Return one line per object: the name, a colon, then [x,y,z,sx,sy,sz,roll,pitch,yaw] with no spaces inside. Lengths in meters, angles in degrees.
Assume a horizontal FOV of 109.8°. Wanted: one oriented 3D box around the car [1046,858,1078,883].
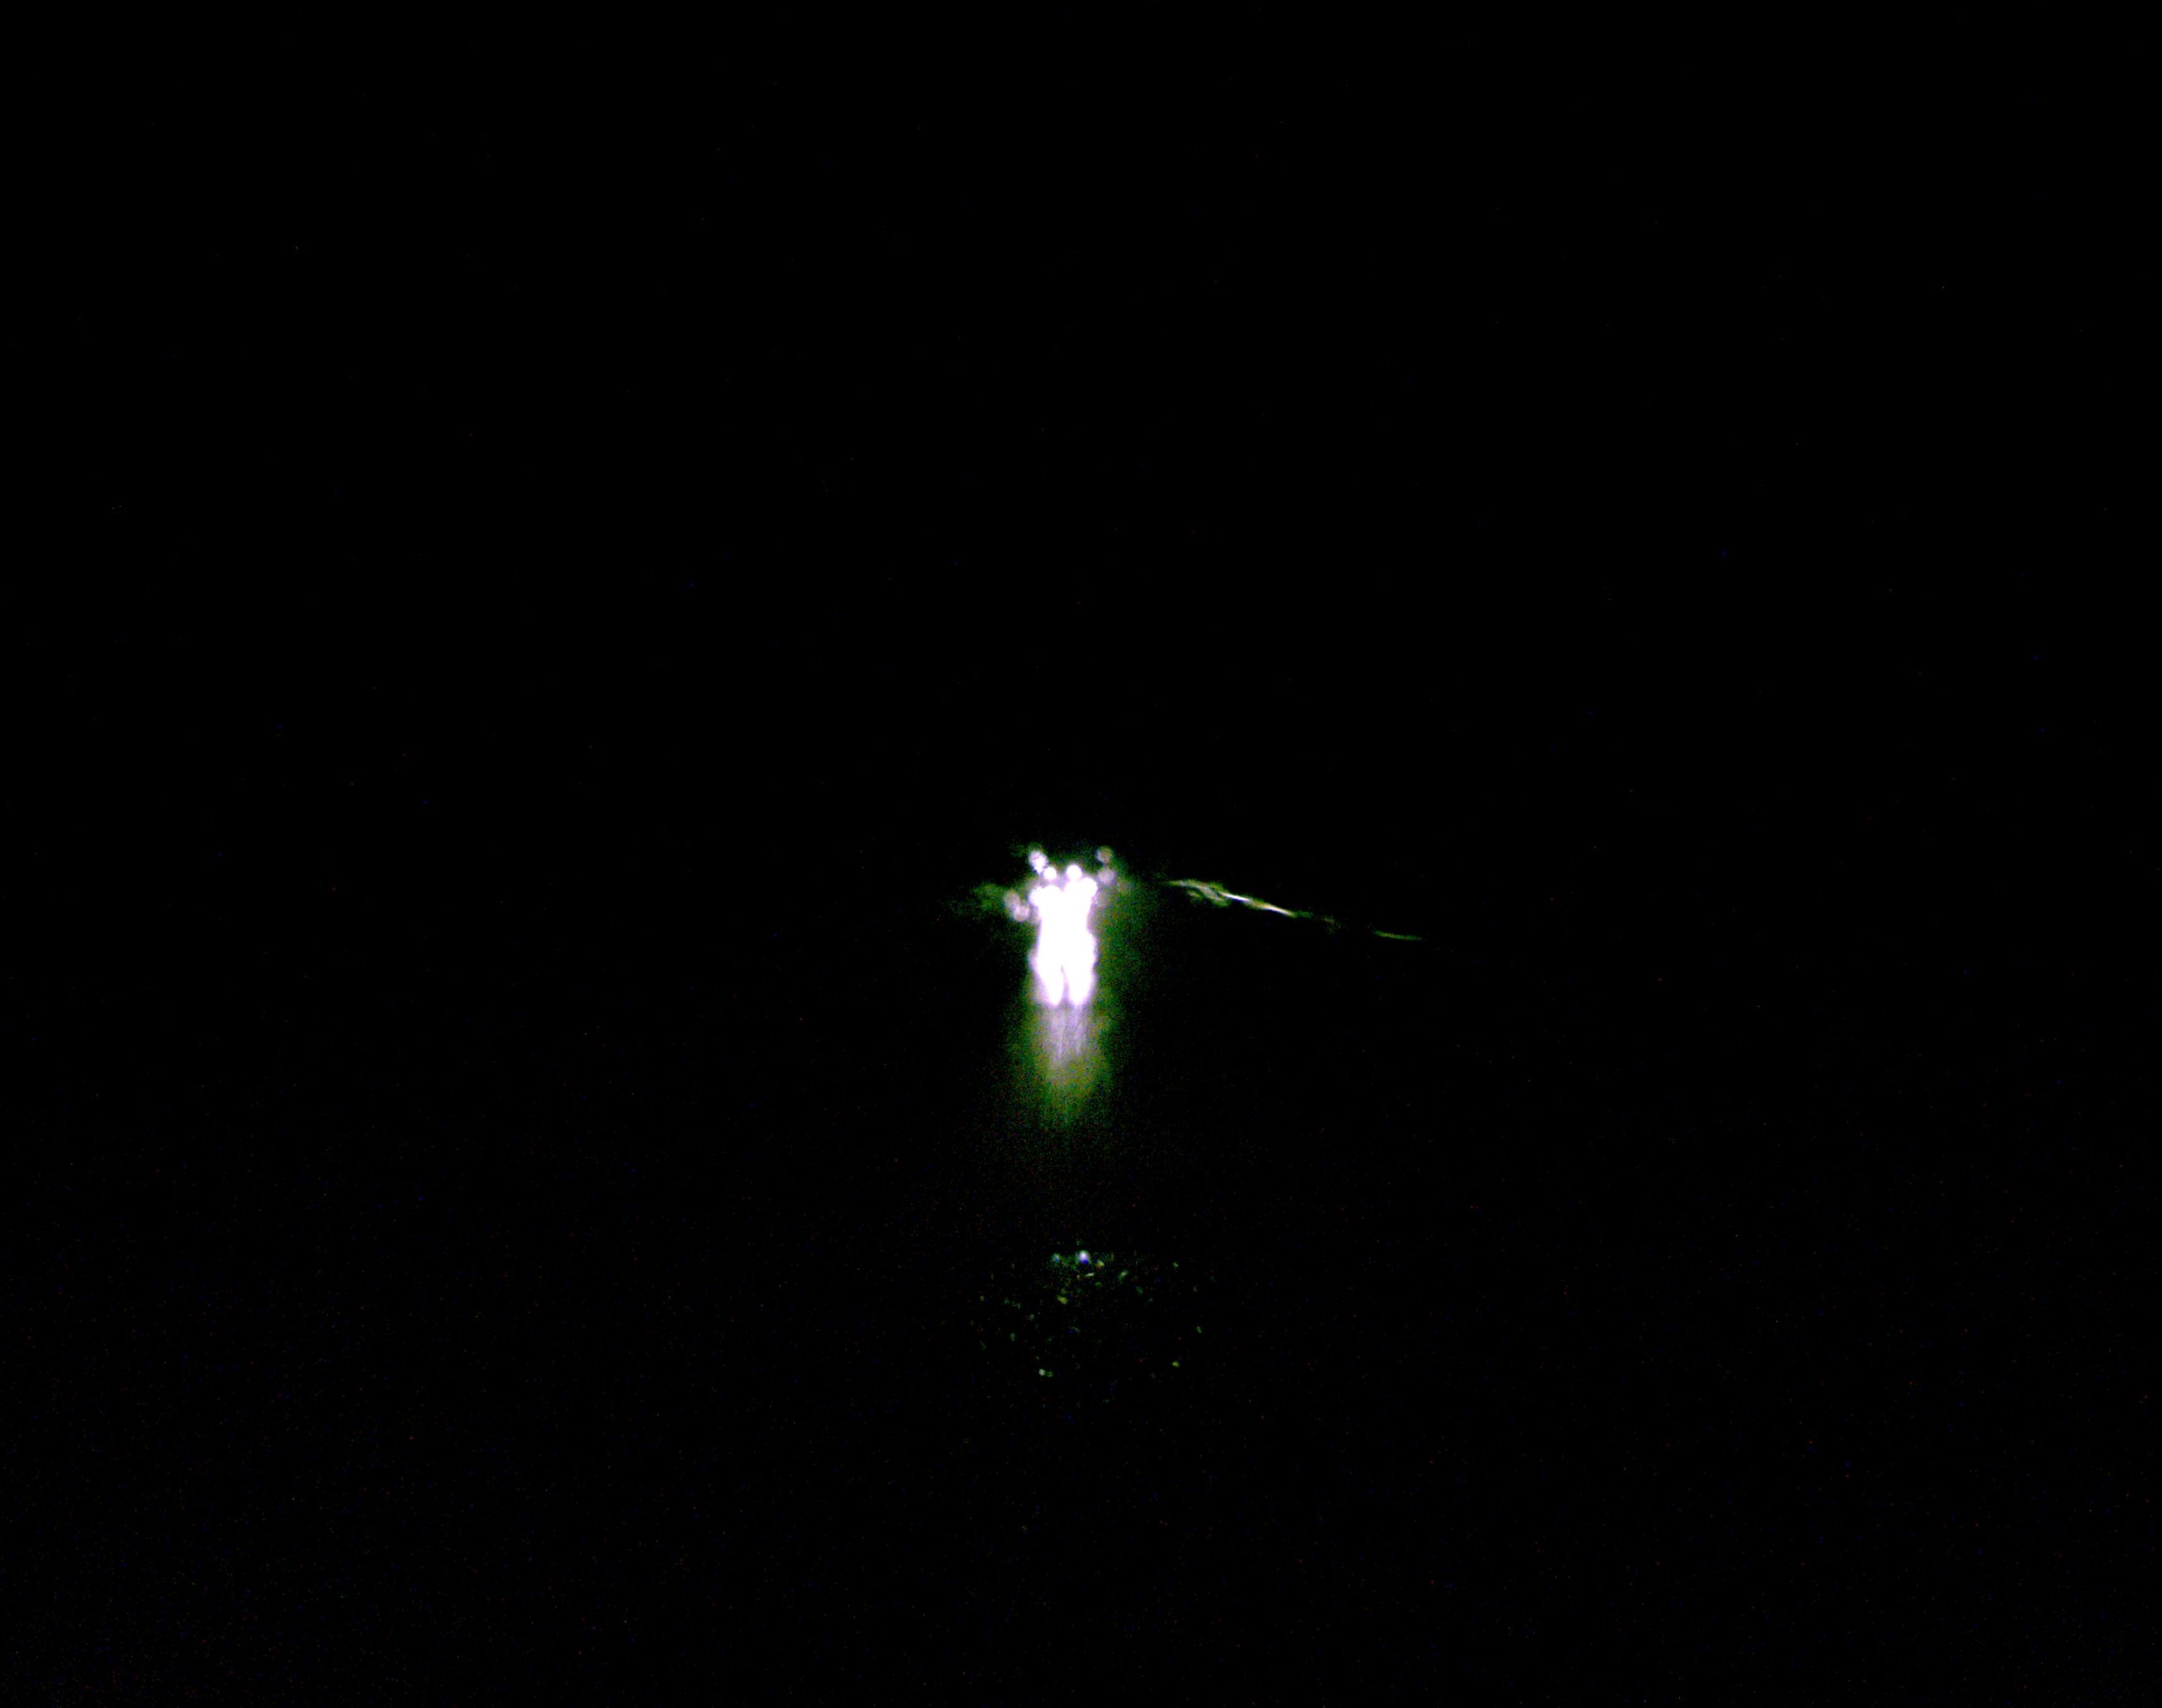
car: [-1.260,1.030,49.675,1.999,1.412,3.999,-3,1,-2]
